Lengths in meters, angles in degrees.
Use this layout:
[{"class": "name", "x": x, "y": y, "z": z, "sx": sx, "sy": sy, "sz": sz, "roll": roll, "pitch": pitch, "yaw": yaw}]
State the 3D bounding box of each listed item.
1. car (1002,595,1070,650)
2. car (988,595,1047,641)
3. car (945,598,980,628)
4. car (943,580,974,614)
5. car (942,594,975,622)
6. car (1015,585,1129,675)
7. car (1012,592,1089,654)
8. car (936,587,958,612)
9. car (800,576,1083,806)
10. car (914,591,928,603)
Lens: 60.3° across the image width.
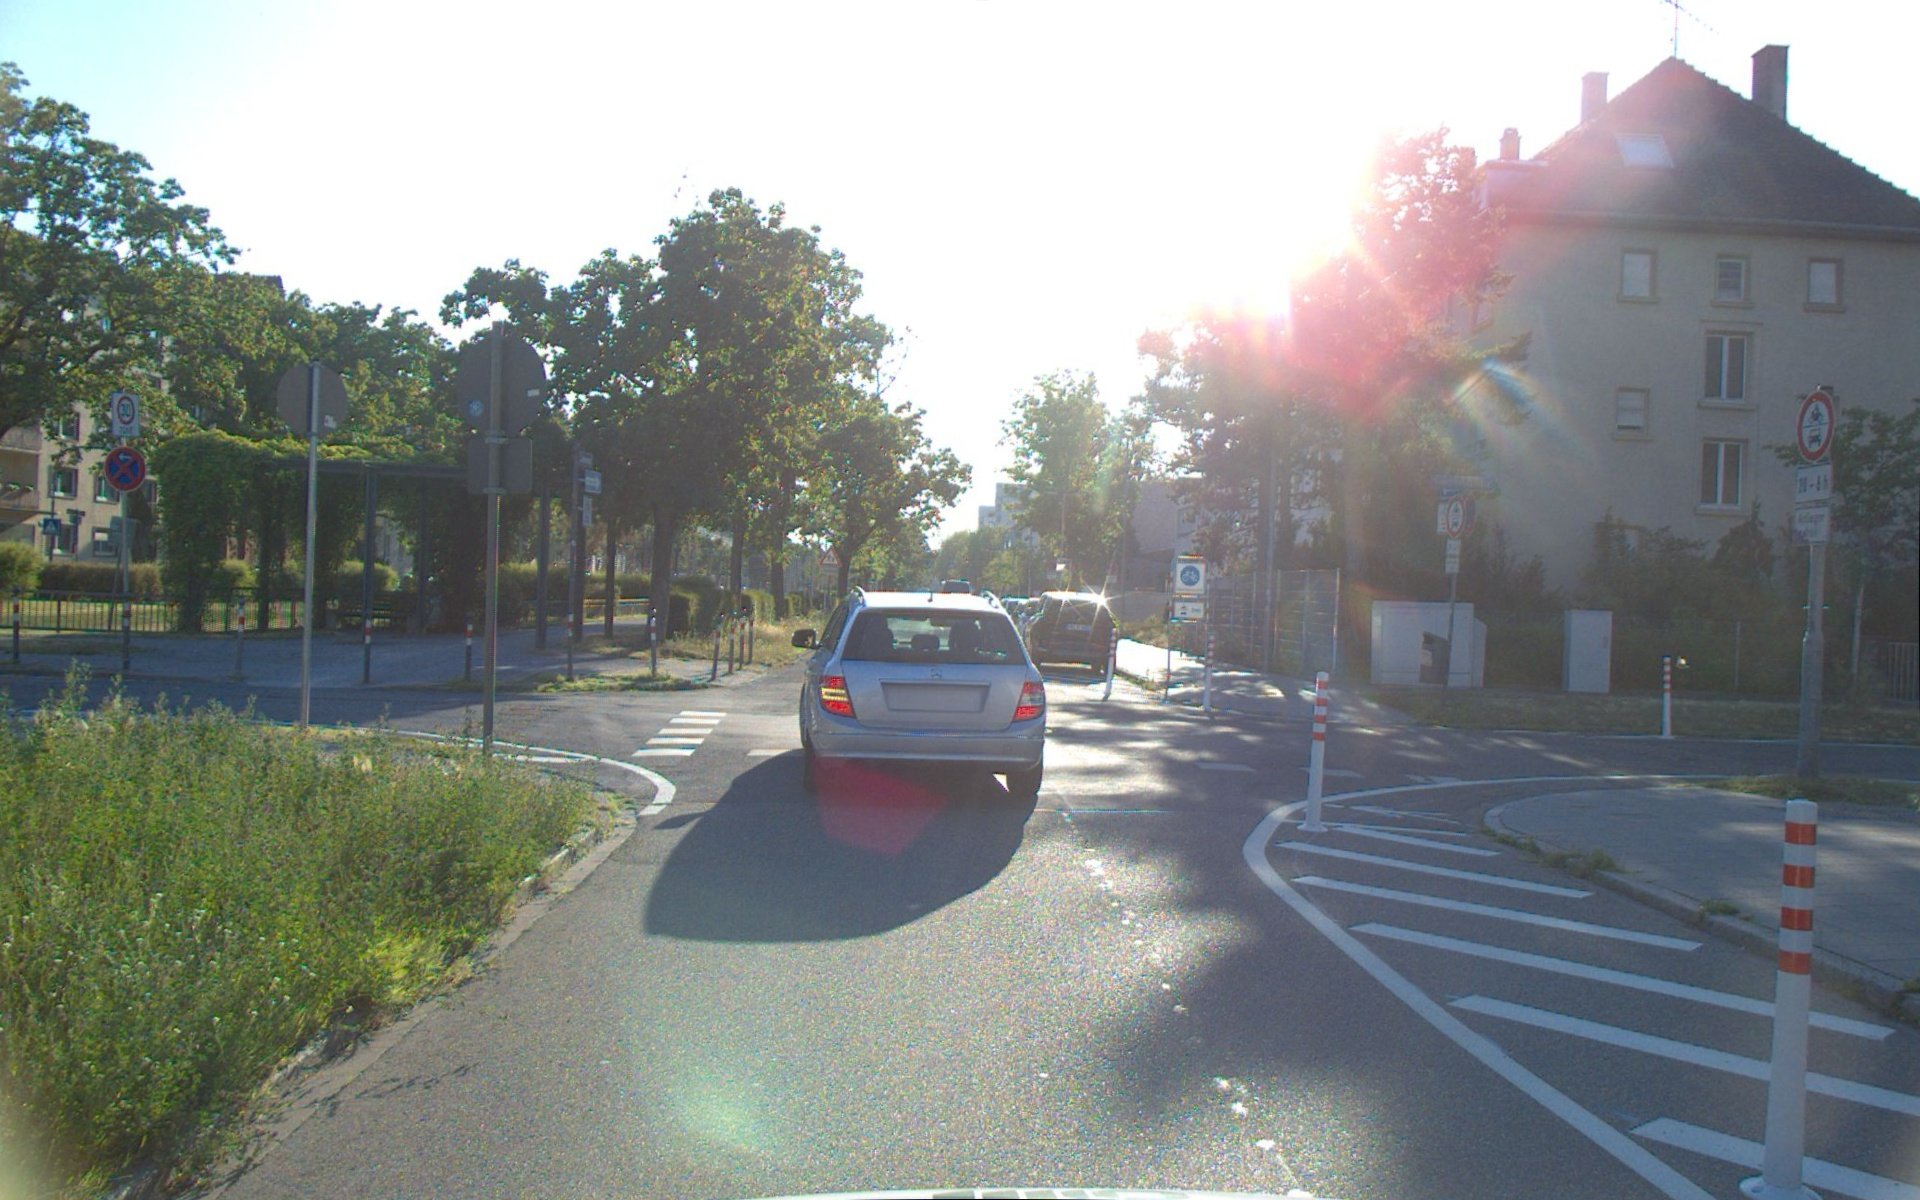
[{"class": "car", "x": 2.224, "y": 0.638, "z": 49.326, "sx": 1.695, "sy": 1.544, "sz": 3.758, "roll": 2, "pitch": 0, "yaw": -2}, {"class": "car", "x": 2.003, "y": 0.617, "z": 58.702, "sx": 1.730, "sy": 1.552, "sz": 3.770, "roll": 1, "pitch": 0, "yaw": -3}, {"class": "car", "x": 0.127, "y": 0.714, "z": 93.210, "sx": 1.722, "sy": 1.544, "sz": 3.757, "roll": 2, "pitch": 0, "yaw": -4}, {"class": "car", "x": -0.135, "y": -0.190, "z": 110.891, "sx": 1.953, "sy": 2.160, "sz": 3.999, "roll": 2, "pitch": 0, "yaw": -1}, {"class": "car", "x": -0.105, "y": 0.461, "z": 97.461, "sx": 1.695, "sy": 1.544, "sz": 3.757, "roll": 2, "pitch": 0, "yaw": -4}, {"class": "car", "x": 2.322, "y": 0.599, "z": 35.327, "sx": 1.781, "sy": 1.670, "sz": 4.213, "roll": 5, "pitch": 0, "yaw": -4}, {"class": "car", "x": 2.367, "y": 0.591, "z": 44.203, "sx": 1.729, "sy": 1.552, "sz": 3.772, "roll": 1, "pitch": 0, "yaw": -2}, {"class": "car", "x": -1.197, "y": -0.040, "z": 150.050, "sx": 1.953, "sy": 2.160, "sz": 3.999, "roll": 2, "pitch": 0, "yaw": -1}, {"class": "car", "x": -0.312, "y": 0.596, "z": 13.080, "sx": 1.782, "sy": 1.498, "sz": 4.210, "roll": 1, "pitch": 0, "yaw": -7}, {"class": "car", "x": -5.668, "y": -0.466, "z": 240.549, "sx": 1.828, "sy": 1.646, "sz": 3.998, "roll": 2, "pitch": 0, "yaw": -2}]
